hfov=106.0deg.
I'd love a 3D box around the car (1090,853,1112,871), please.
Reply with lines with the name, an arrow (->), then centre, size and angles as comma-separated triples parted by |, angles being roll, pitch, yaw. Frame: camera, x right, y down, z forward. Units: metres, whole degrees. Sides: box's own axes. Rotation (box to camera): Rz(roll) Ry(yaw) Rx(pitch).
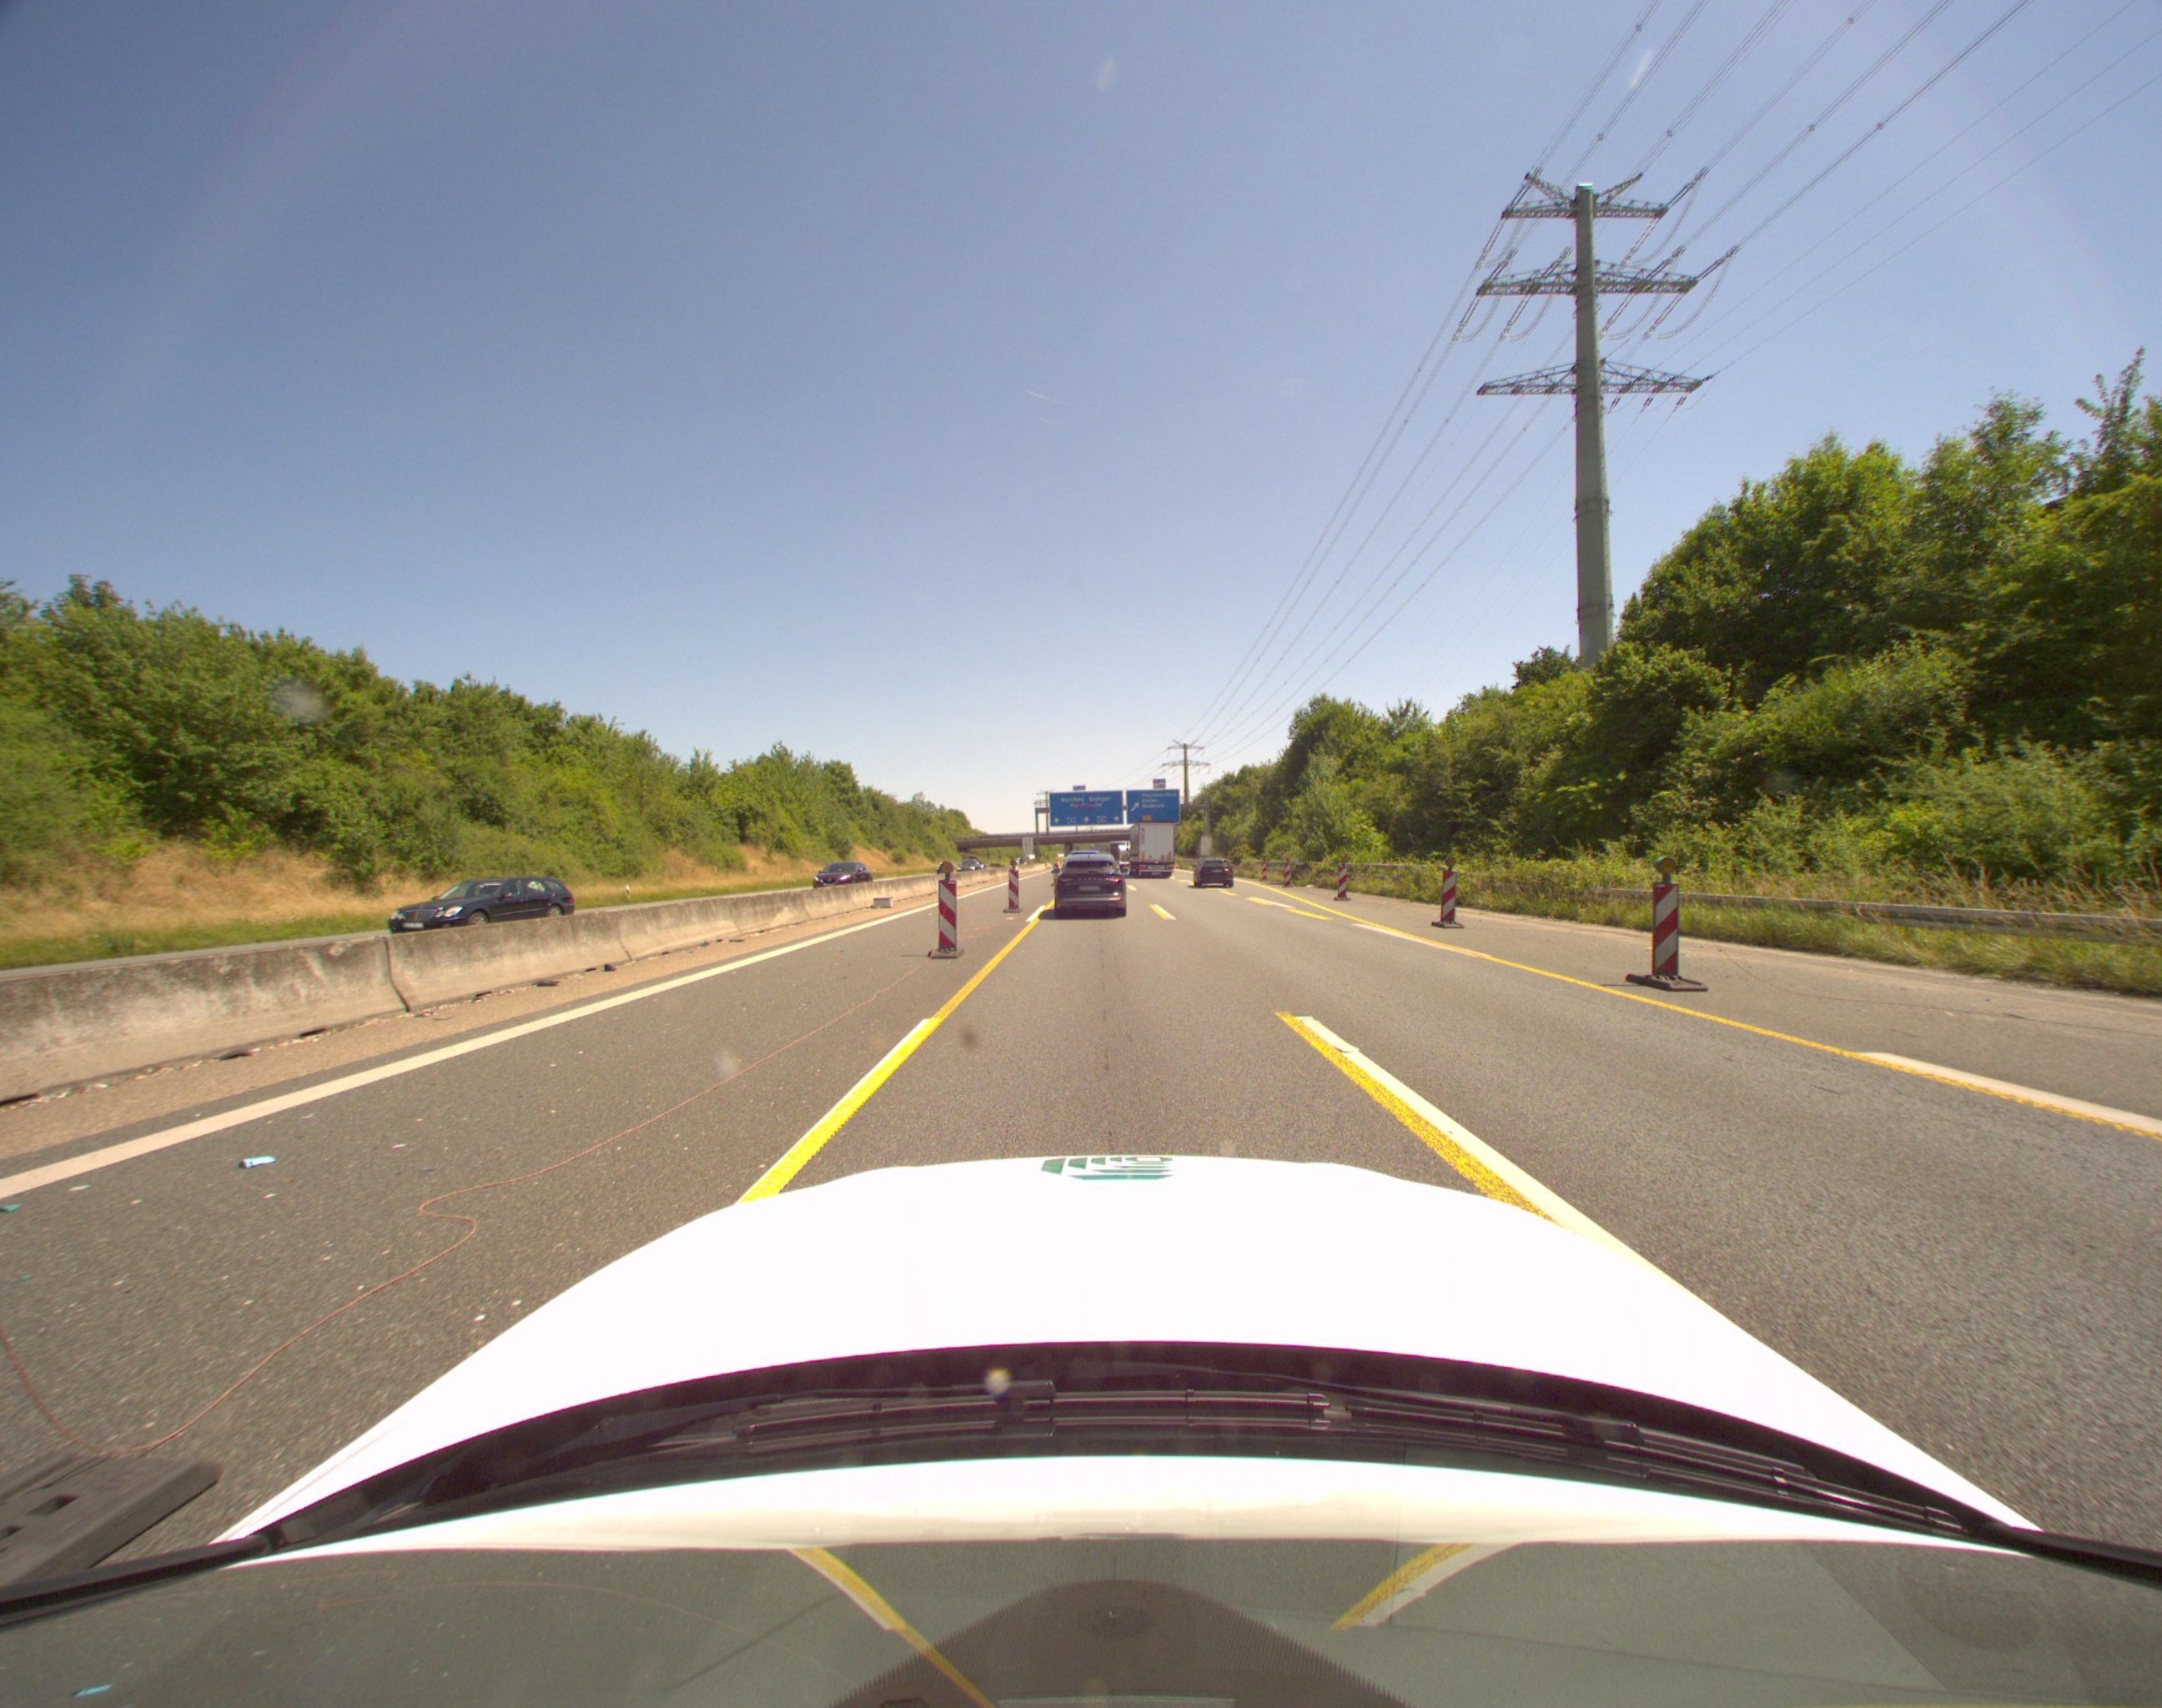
car -> 1.838, 0.723, 75.899 | 1.889, 1.509, 4.443 | 1, 2, 0

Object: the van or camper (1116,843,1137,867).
van or camper -> 5.834, 0.162, 105.977 | 2.576, 2.968, 6.087 | 0, 0, 2

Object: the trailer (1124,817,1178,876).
trailer -> 5.150, -0.485, 61.945 | 3.056, 4.042, 11.484 | -1, 0, 0

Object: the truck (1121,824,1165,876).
truck -> 5.127, -0.330, 68.810 | 3.015, 4.087, 7.793 | -2, 0, 0

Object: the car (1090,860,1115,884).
car -> 1.624, 1.302, 60.394 | 1.664, 1.629, 4.694 | 1, 0, 3

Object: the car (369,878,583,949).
car -> -15.571, 1.468, 21.348 | 1.985, 1.460, 4.589 | -2, 0, 2

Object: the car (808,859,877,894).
car -> -11.022, 1.003, 37.998 | 1.842, 1.460, 4.489 | -2, 0, 0

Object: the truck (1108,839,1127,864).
truck -> 6.364, -0.352, 142.582 | 3.066, 4.146, 13.060 | -1, 0, 2

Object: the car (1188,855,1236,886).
car -> 6.592, 0.806, 41.247 | 1.773, 1.489, 4.464 | 0, 0, 1

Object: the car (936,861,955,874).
car -> -17.349, 1.708, 104.368 | 1.568, 1.464, 3.779 | -2, 0, 1

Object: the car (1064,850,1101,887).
car -> 0.093, 0.748, 43.658 | 1.889, 1.841, 4.442 | 0, 0, 0

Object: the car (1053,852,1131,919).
car -> 0.271, 0.753, 21.929 | 1.889, 1.592, 4.442 | -1, 0, 0

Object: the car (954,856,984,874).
car -> -10.480, 1.034, 76.576 | 1.986, 1.600, 4.583 | -2, 0, 1
